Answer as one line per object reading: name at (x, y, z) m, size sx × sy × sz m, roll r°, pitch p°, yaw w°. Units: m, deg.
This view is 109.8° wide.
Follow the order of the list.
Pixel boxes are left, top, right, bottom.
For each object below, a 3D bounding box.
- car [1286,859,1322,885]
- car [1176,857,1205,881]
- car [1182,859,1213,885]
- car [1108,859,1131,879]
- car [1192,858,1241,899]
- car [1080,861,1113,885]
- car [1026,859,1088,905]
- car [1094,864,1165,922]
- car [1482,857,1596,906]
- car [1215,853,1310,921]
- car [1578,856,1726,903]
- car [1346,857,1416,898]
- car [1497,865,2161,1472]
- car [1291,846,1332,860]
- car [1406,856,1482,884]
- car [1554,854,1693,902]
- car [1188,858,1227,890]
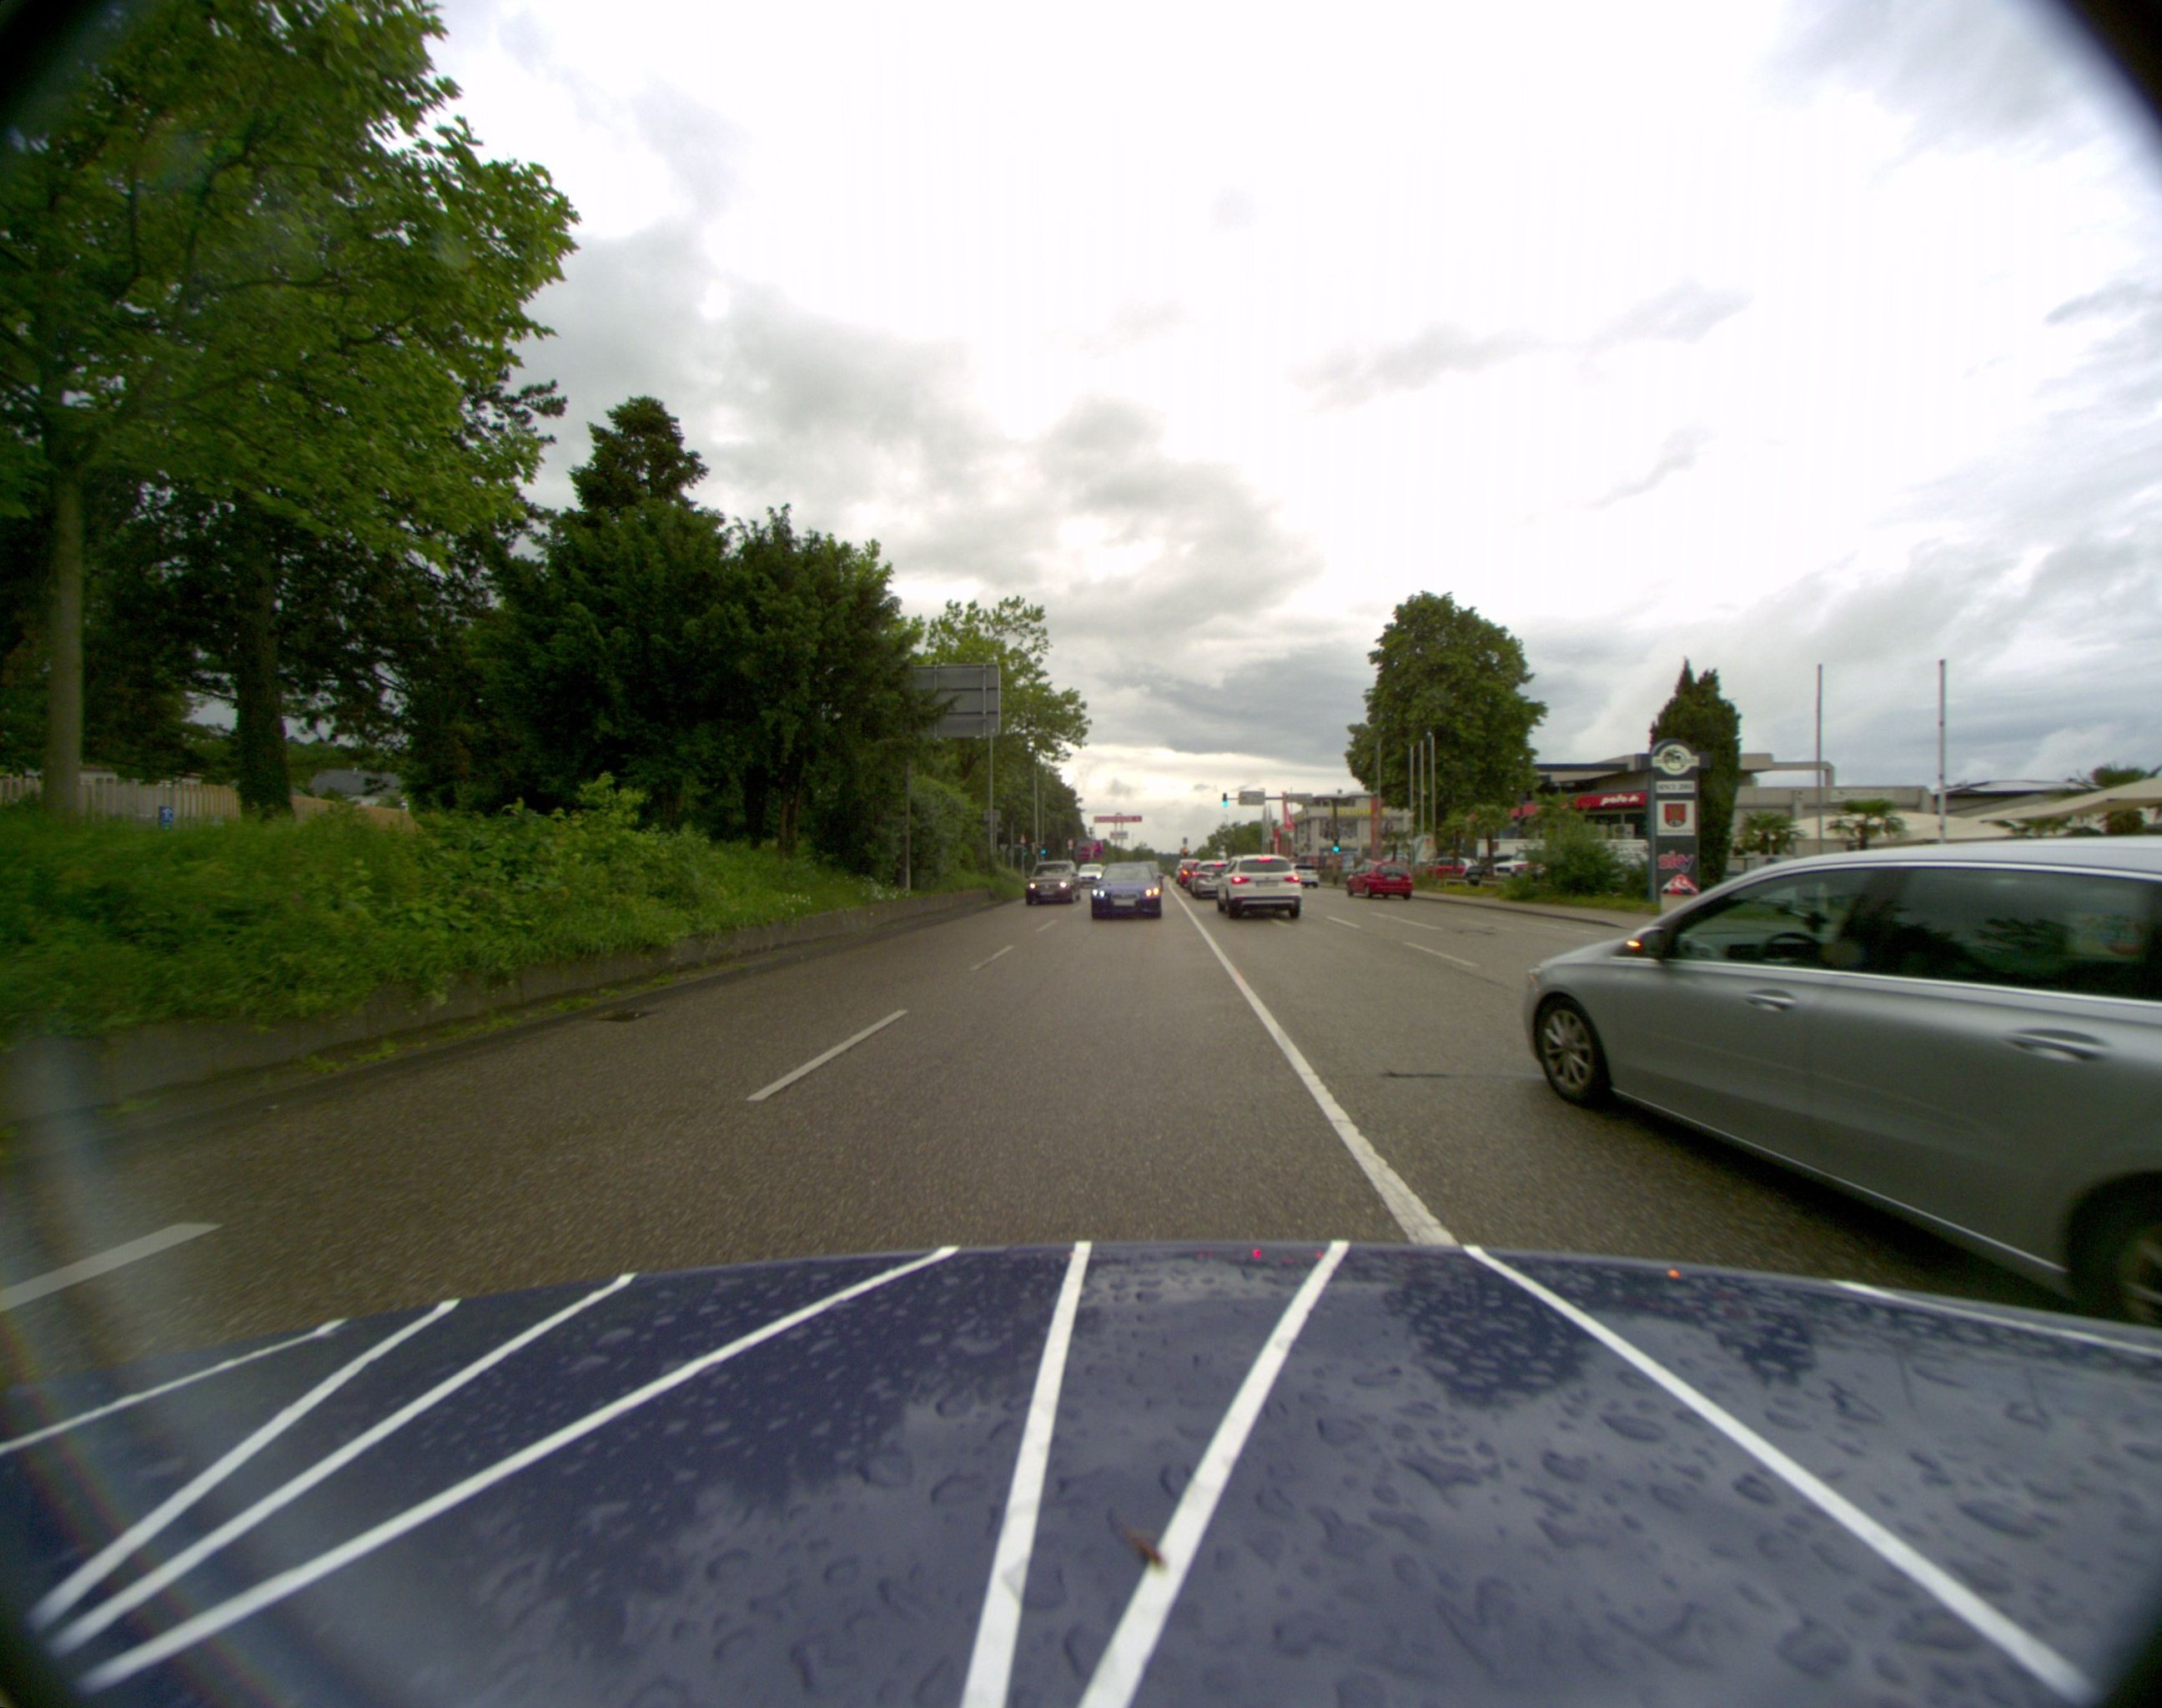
car at (13.540, 1.076, 46.286) m, size 1.640 × 1.469 × 4.047 m, roll 0°, pitch 0°, yaw 9°
car at (7.634, 1.042, 53.248) m, size 1.843 × 1.639 × 4.300 m, roll 0°, pitch -1°, yaw 6°
car at (6.820, 1.045, 44.699) m, size 1.635 × 1.425 × 4.146 m, roll 0°, pitch 0°, yaw 6°
car at (3.031, 1.170, 59.321) m, size 1.633 × 1.448 × 3.540 m, roll -1°, pitch -1°, yaw 5°
car at (5.274, 0.912, 29.909) m, size 1.605 × 1.433 × 3.950 m, roll -1°, pitch 0°, yaw 6°
car at (1.039, 1.220, 48.939) m, size 1.783 × 1.448 × 4.682 m, roll -1°, pitch -1°, yaw 5°
car at (-0.848, 1.040, 29.219) m, size 1.750 × 1.599 × 3.983 m, roll -1°, pitch -1°, yaw 7°
car at (1.431, 1.031, 21.634) m, size 1.783 × 1.448 × 4.600 m, roll -1°, pitch -1°, yaw 5°
car at (20.104, 1.207, 33.387) m, size 4.405 × 2.001 × 1.996 m, roll 2°, pitch -1°, yaw -22°
car at (4.676, 0.782, 20.135) m, size 1.791 × 1.572 × 4.240 m, roll -1°, pitch 0°, yaw 4°
car at (20.295, 0.896, 27.053) m, size 4.372 × 1.456 × 1.996 m, roll 2°, pitch 2°, yaw -18°
car at (12.264, 0.930, 31.329) m, size 1.640 × 1.524 × 3.973 m, roll 2°, pitch 0°, yaw 6°
car at (3.682, 0.840, 2.993) m, size 1.754 × 1.499 × 4.301 m, roll 0°, pitch 1°, yaw 0°
car at (21.306, -0.091, 70.164) m, size 3.393 × 1.160 × 1.455 m, roll 0°, pitch -1°, yaw 4°
car at (20.555, 0.867, 43.065) m, size 3.607 × 1.495 × 1.669 m, roll 1°, pitch 1°, yaw 35°
car at (21.512, 0.960, 30.152) m, size 5.019 × 1.693 × 1.996 m, roll 2°, pitch 2°, yaw -21°
car at (6.043, 0.965, 36.684) m, size 1.605 × 1.432 × 3.951 m, roll -1°, pitch -1°, yaw 6°
